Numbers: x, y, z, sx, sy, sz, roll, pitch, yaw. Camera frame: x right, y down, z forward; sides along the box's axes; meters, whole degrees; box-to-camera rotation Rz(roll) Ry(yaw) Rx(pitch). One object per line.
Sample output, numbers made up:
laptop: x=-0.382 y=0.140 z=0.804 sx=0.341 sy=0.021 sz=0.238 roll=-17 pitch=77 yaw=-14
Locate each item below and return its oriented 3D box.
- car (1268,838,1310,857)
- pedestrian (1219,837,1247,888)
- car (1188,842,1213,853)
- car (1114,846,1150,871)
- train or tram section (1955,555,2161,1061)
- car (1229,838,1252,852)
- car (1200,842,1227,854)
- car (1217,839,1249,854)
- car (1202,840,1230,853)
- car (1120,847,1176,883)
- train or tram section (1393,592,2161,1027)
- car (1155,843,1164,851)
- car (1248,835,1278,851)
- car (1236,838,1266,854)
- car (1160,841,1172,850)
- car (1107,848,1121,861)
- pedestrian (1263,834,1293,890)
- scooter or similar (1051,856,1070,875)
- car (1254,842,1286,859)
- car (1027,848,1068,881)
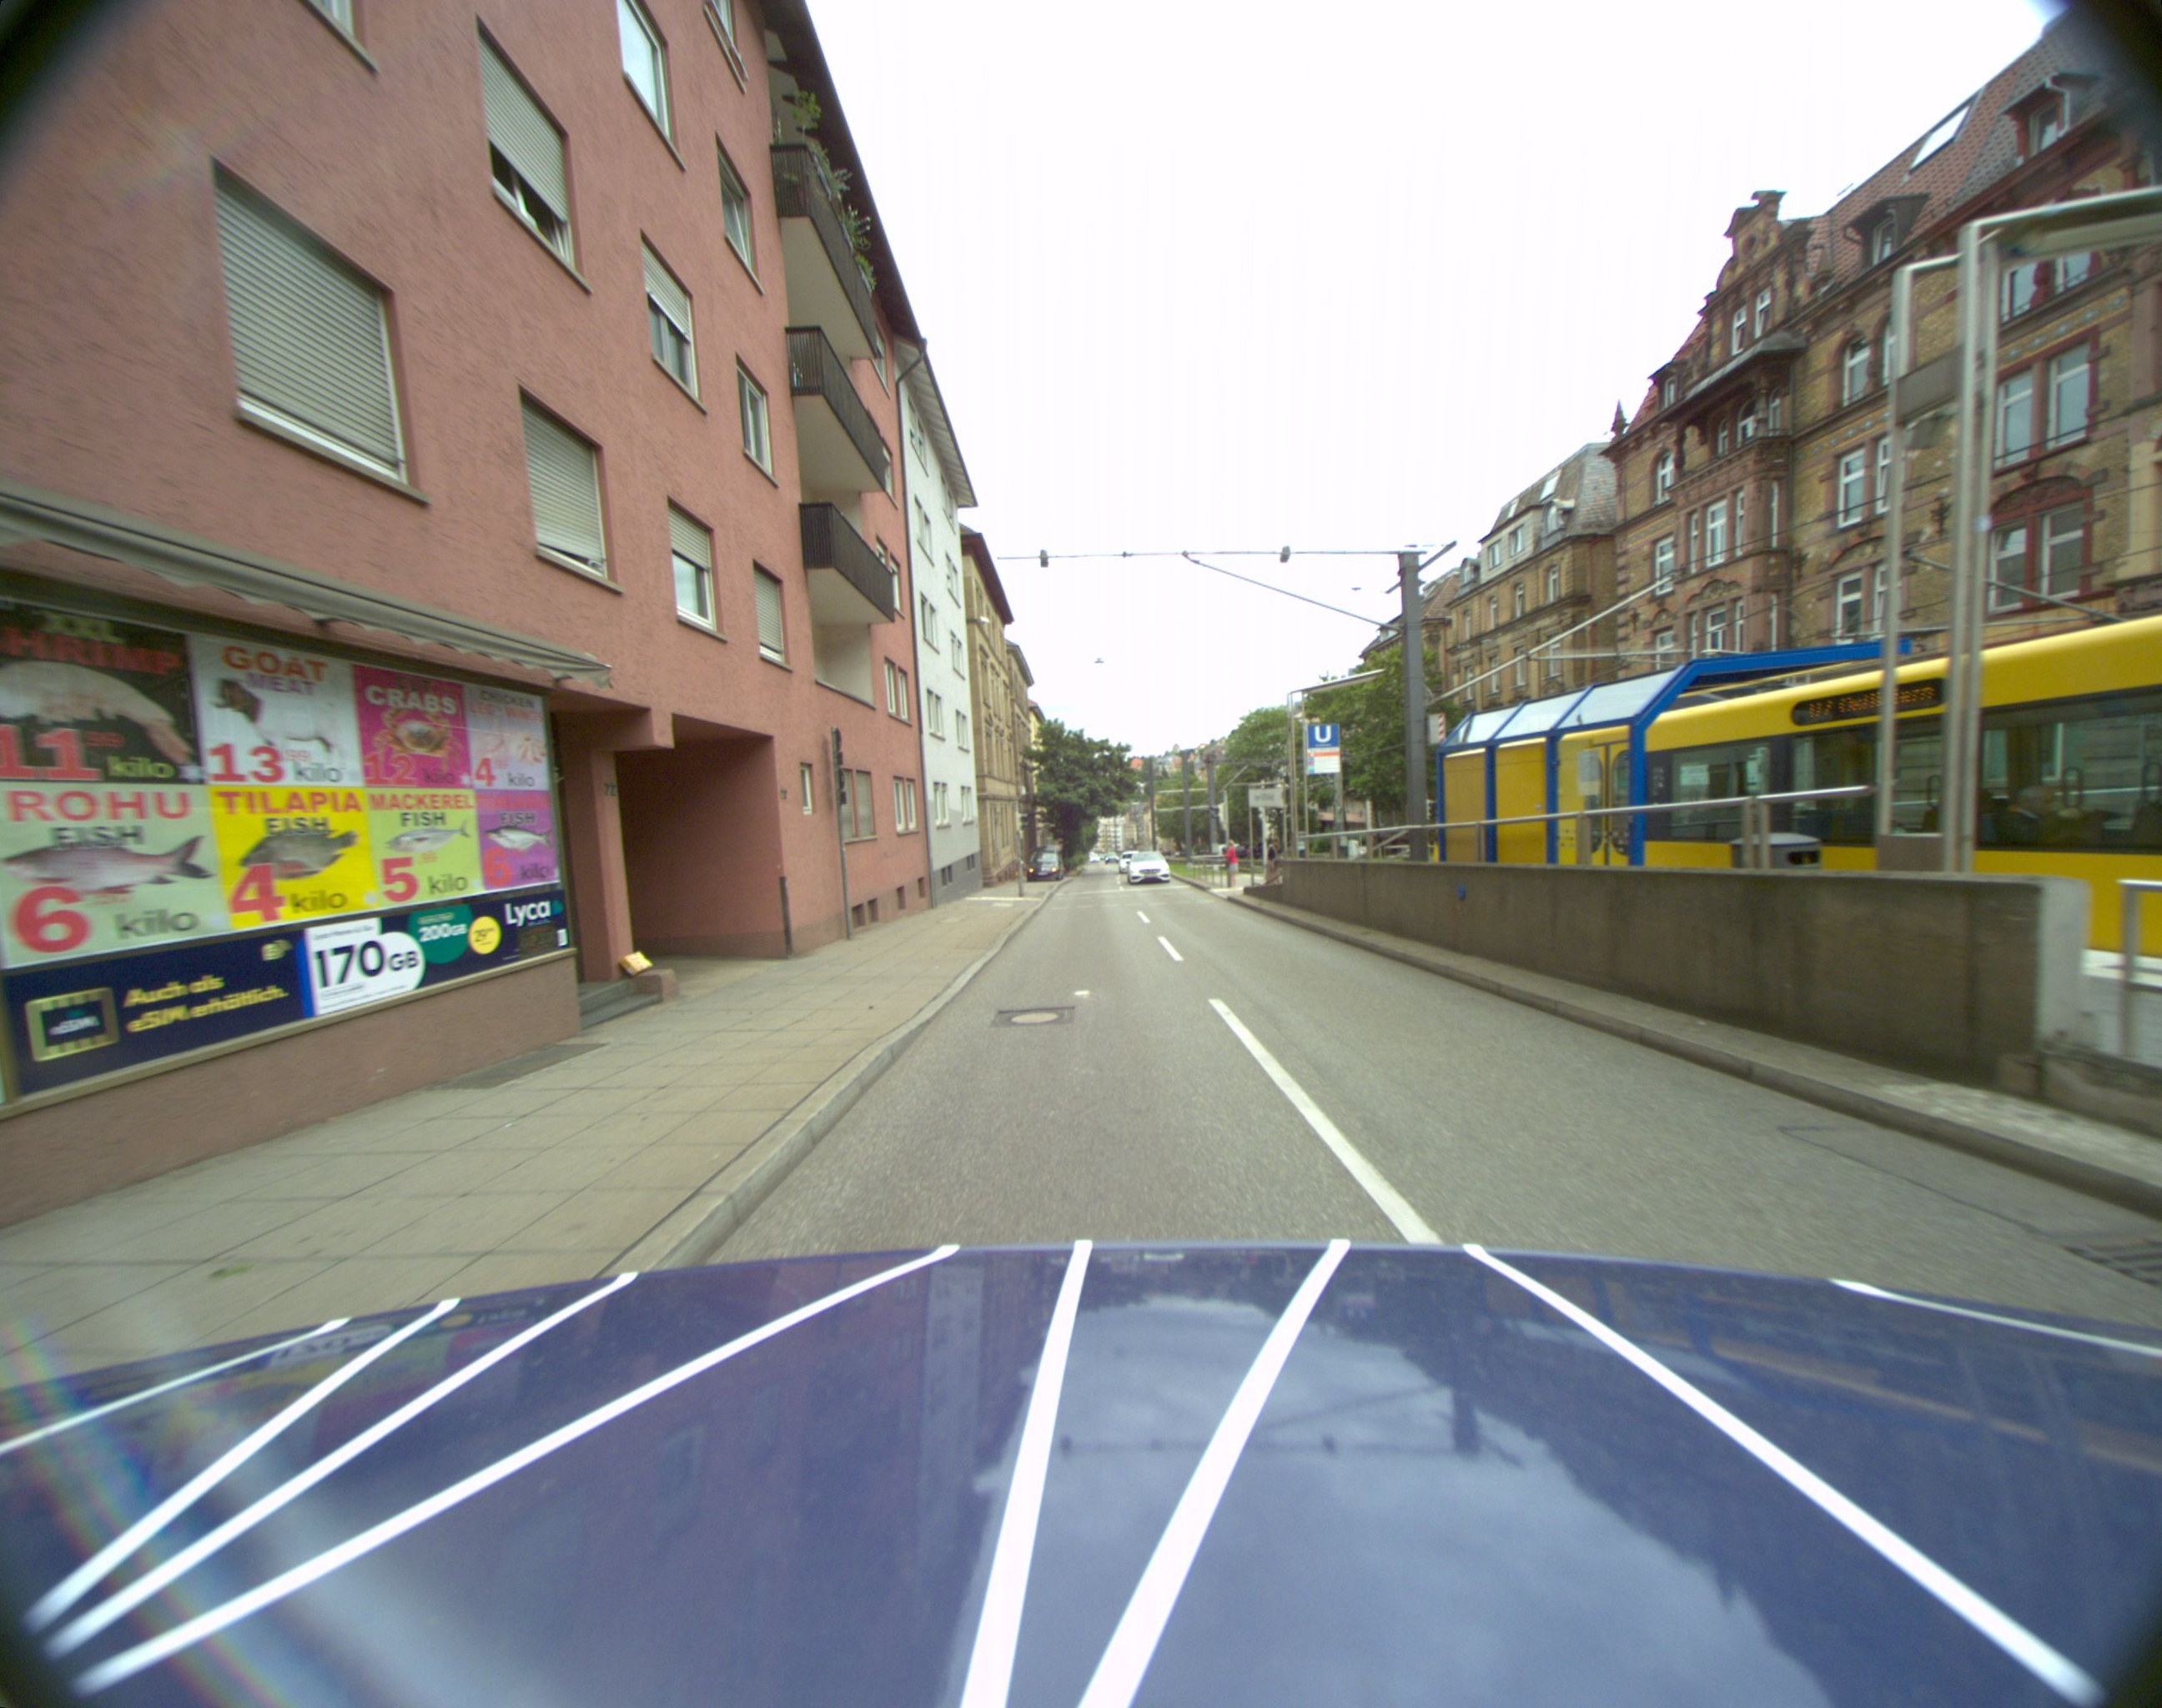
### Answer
car: x=21.051 y=-0.691 z=76.935 sx=3.863 sy=1.678 sz=1.780 roll=-4 pitch=1 yaw=-31
pedestrian: x=5.128 y=0.276 z=25.644 sx=0.680 sy=1.670 sz=0.685 roll=-3 pitch=1 yaw=-1
car: x=20.874 y=-1.166 z=133.239 sx=3.859 sy=1.803 sz=1.782 roll=-3 pitch=1 yaw=-14
car: x=3.530 y=0.279 z=53.184 sx=1.999 sy=1.479 sz=4.229 roll=-6 pitch=0 yaw=-1
train or tram section: x=8.797 y=-0.041 z=0.260 sx=2.957 sy=3.453 sz=12.210 roll=-3 pitch=4 yaw=1
car: x=20.638 y=-1.175 z=98.213 sx=1.780 sy=1.678 sz=3.864 roll=-3 pitch=2 yaw=29
car: x=21.781 y=-0.925 z=124.763 sx=3.859 sy=1.803 sz=1.782 roll=-3 pitch=1 yaw=-14
car: x=21.019 y=-1.075 z=105.173 sx=3.861 sy=1.803 sz=1.781 roll=-3 pitch=1 yaw=-22
car: x=21.193 y=-1.232 z=119.145 sx=3.859 sy=1.803 sz=1.782 roll=-3 pitch=1 yaw=-14
car: x=2.996 y=0.465 z=34.857 sx=1.999 sy=1.390 sz=4.229 roll=-5 pitch=0 yaw=-1
train or tram section: x=9.054 y=-0.684 z=12.469 sx=2.956 sy=3.524 sz=12.392 roll=-3 pitch=3 yaw=1
car: x=20.659 y=-1.852 z=199.144 sx=1.998 sy=2.002 sz=4.000 roll=-3 pitch=0 yaw=2
car: x=21.526 y=-1.286 z=89.743 sx=1.780 sy=1.678 sz=3.865 roll=-2 pitch=1 yaw=41
car: x=20.636 y=-0.986 z=92.225 sx=1.780 sy=1.678 sz=3.865 roll=-2 pitch=1 yaw=42
car: x=20.735 y=-2.143 z=185.579 sx=1.999 sy=2.002 sz=3.998 roll=-3 pitch=0 yaw=-5
car: x=4.749 y=0.029 z=108.149 sx=1.881 sy=1.727 sz=4.000 roll=-3 pitch=0 yaw=2
pedestrian: x=6.123 y=0.251 z=23.675 sx=0.623 sy=1.685 sz=0.660 roll=-3 pitch=1 yaw=-8
scooter or similar: x=-1.422 y=0.789 z=52.714 sx=1.199 sy=1.266 sz=0.629 roll=0 pitch=1 yaw=-8
car: x=20.659 y=-0.394 z=82.983 sx=1.780 sy=1.678 sz=3.865 roll=-2 pitch=1 yaw=41
car: x=-1.839 y=0.542 z=42.443 sx=1.862 sy=1.701 sz=4.308 roll=-2 pitch=0 yaw=2
